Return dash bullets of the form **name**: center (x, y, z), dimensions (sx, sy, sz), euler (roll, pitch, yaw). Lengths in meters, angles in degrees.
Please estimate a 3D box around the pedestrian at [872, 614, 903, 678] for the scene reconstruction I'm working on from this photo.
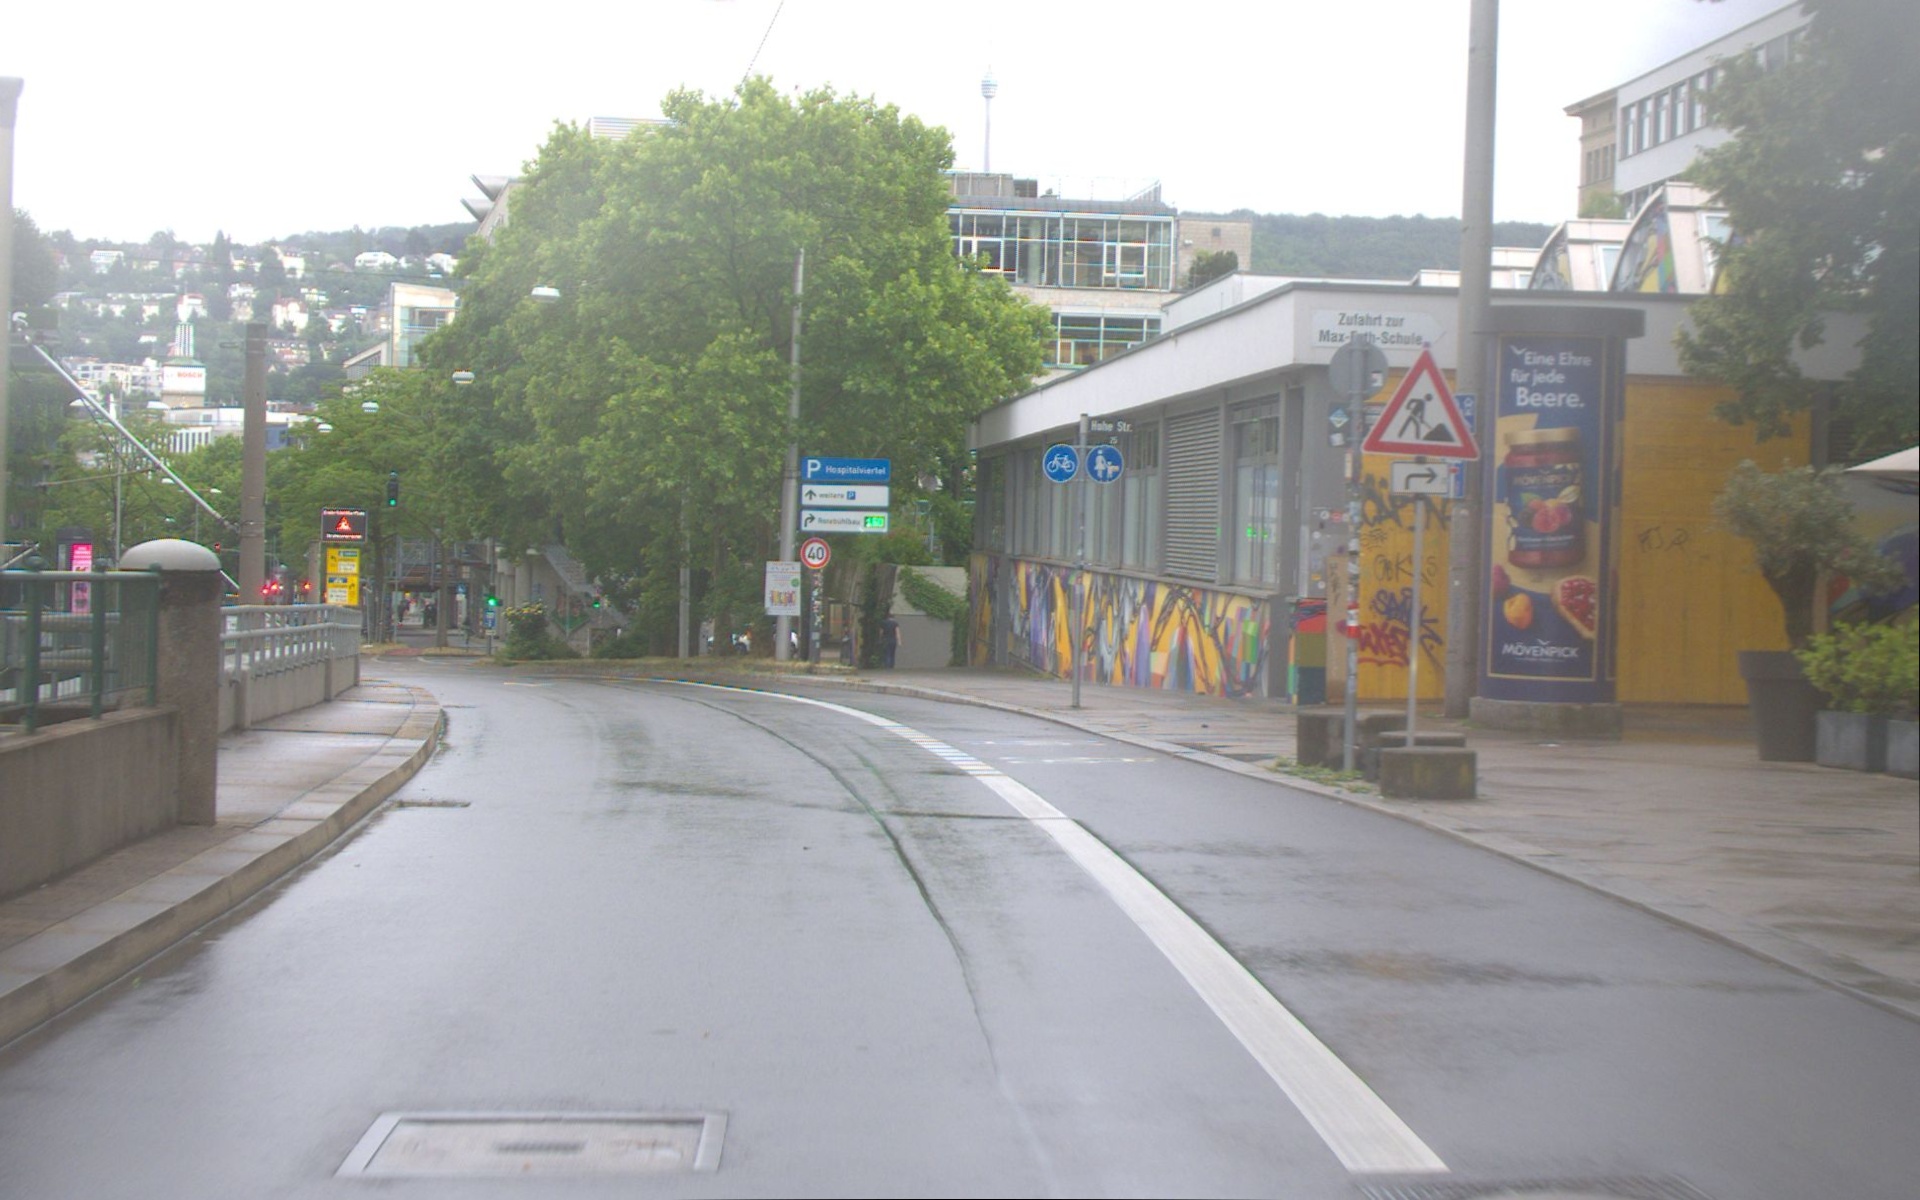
- **pedestrian**: center (-2.140, 1.356, 100.729), dimensions (0.807, 1.858, 1.056), euler (0, -1, -6)

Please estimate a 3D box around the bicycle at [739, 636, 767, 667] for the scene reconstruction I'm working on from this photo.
- **bicycle**: center (-7.436, 1.844, 123.651), dimensions (0.806, 1.108, 2.198), euler (1, -1, -9)
